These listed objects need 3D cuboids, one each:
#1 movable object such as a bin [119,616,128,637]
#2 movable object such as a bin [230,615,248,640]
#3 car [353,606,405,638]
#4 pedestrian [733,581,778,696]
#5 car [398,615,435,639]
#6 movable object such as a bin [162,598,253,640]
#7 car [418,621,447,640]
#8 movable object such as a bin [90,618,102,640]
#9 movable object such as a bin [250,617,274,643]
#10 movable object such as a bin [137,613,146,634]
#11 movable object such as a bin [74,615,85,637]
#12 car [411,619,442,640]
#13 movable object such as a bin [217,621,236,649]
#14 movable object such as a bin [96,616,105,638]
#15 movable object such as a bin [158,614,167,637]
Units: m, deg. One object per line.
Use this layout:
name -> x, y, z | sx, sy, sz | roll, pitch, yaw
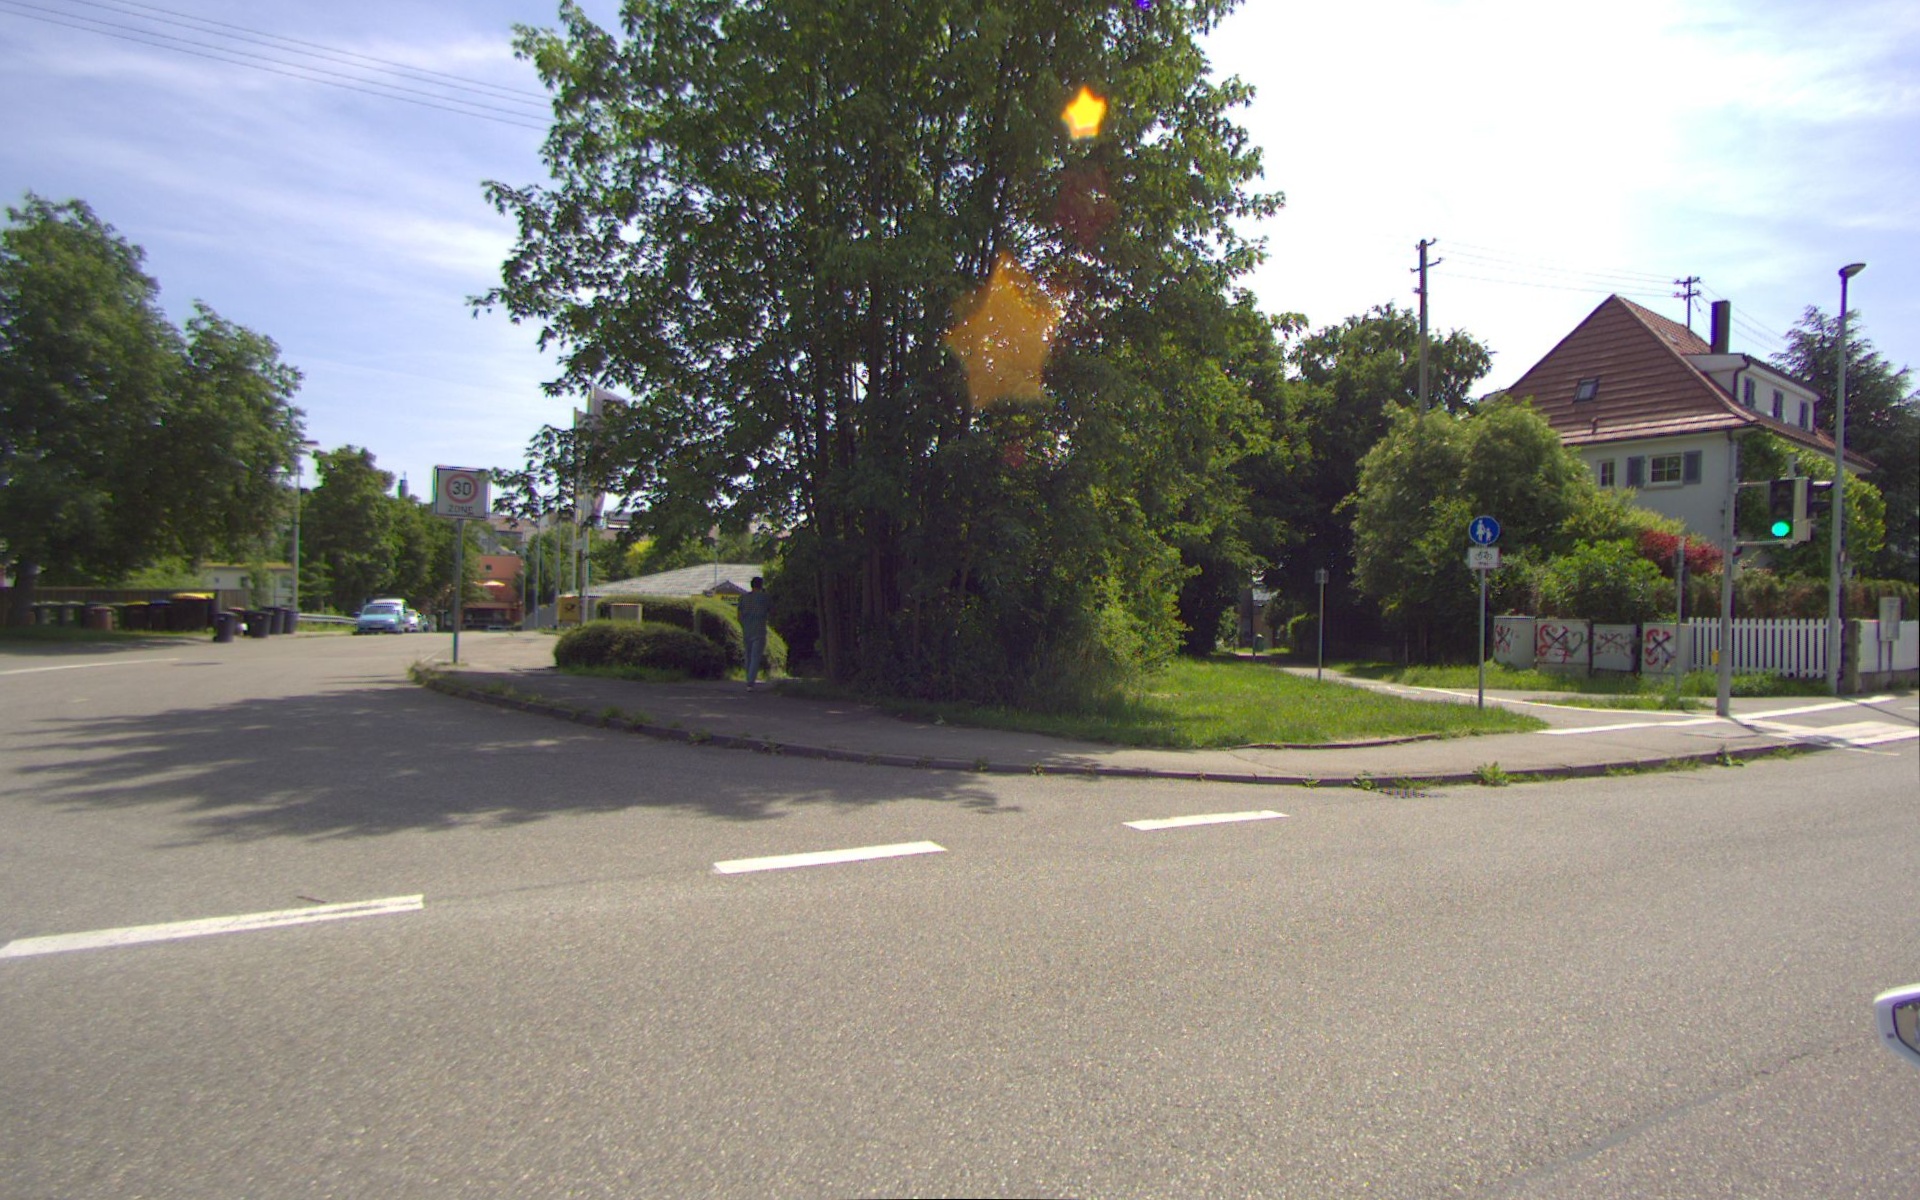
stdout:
movable object such as a bin -> -29.386, 0.936, 35.290 | 0.233, 0.738, 0.229 | 1, 1, 45
movable object such as a bin -> -25.457, 0.958, 35.466 | 0.364, 0.868, 0.373 | 1, 0, 9
car -> -26.901, 1.034, 46.576 | 1.733, 1.352, 3.845 | -1, -2, -25
pedestrian -> -3.297, 0.618, 16.215 | 0.678, 1.800, 0.736 | 1, -2, -11
car -> -32.656, 1.634, 60.440 | 1.733, 1.352, 3.845 | -1, -2, -25
movable object such as a bin -> -26.611, 0.659, 35.601 | 1.485, 1.405, 2.208 | -2, -1, 3
car -> -40.226, 2.351, 76.625 | 1.733, 1.352, 3.845 | -1, -2, -25
movable object such as a bin -> -28.782, 0.970, 33.455 | 0.232, 0.738, 0.230 | 1, 0, 22
movable object such as a bin -> -24.350, 1.039, 35.045 | 0.510, 0.886, 0.516 | 1, 0, 22
movable object such as a bin -> -28.963, 0.834, 35.530 | 0.233, 0.738, 0.229 | 1, 1, 45
movable object such as a bin -> -30.521, 0.893, 34.829 | 0.233, 0.738, 0.229 | 1, 1, 34
car -> -37.562, 2.094, 70.822 | 1.733, 1.352, 3.845 | -1, -2, -25
movable object such as a bin -> -23.131, 1.099, 31.687 | 0.391, 0.886, 0.390 | 0, 0, -22
movable object such as a bin -> -30.008, 0.947, 35.065 | 0.233, 0.738, 0.229 | 1, 1, 45
movable object such as a bin -> -28.444, 0.896, 35.826 | 0.233, 0.815, 0.229 | 1, 1, 45
